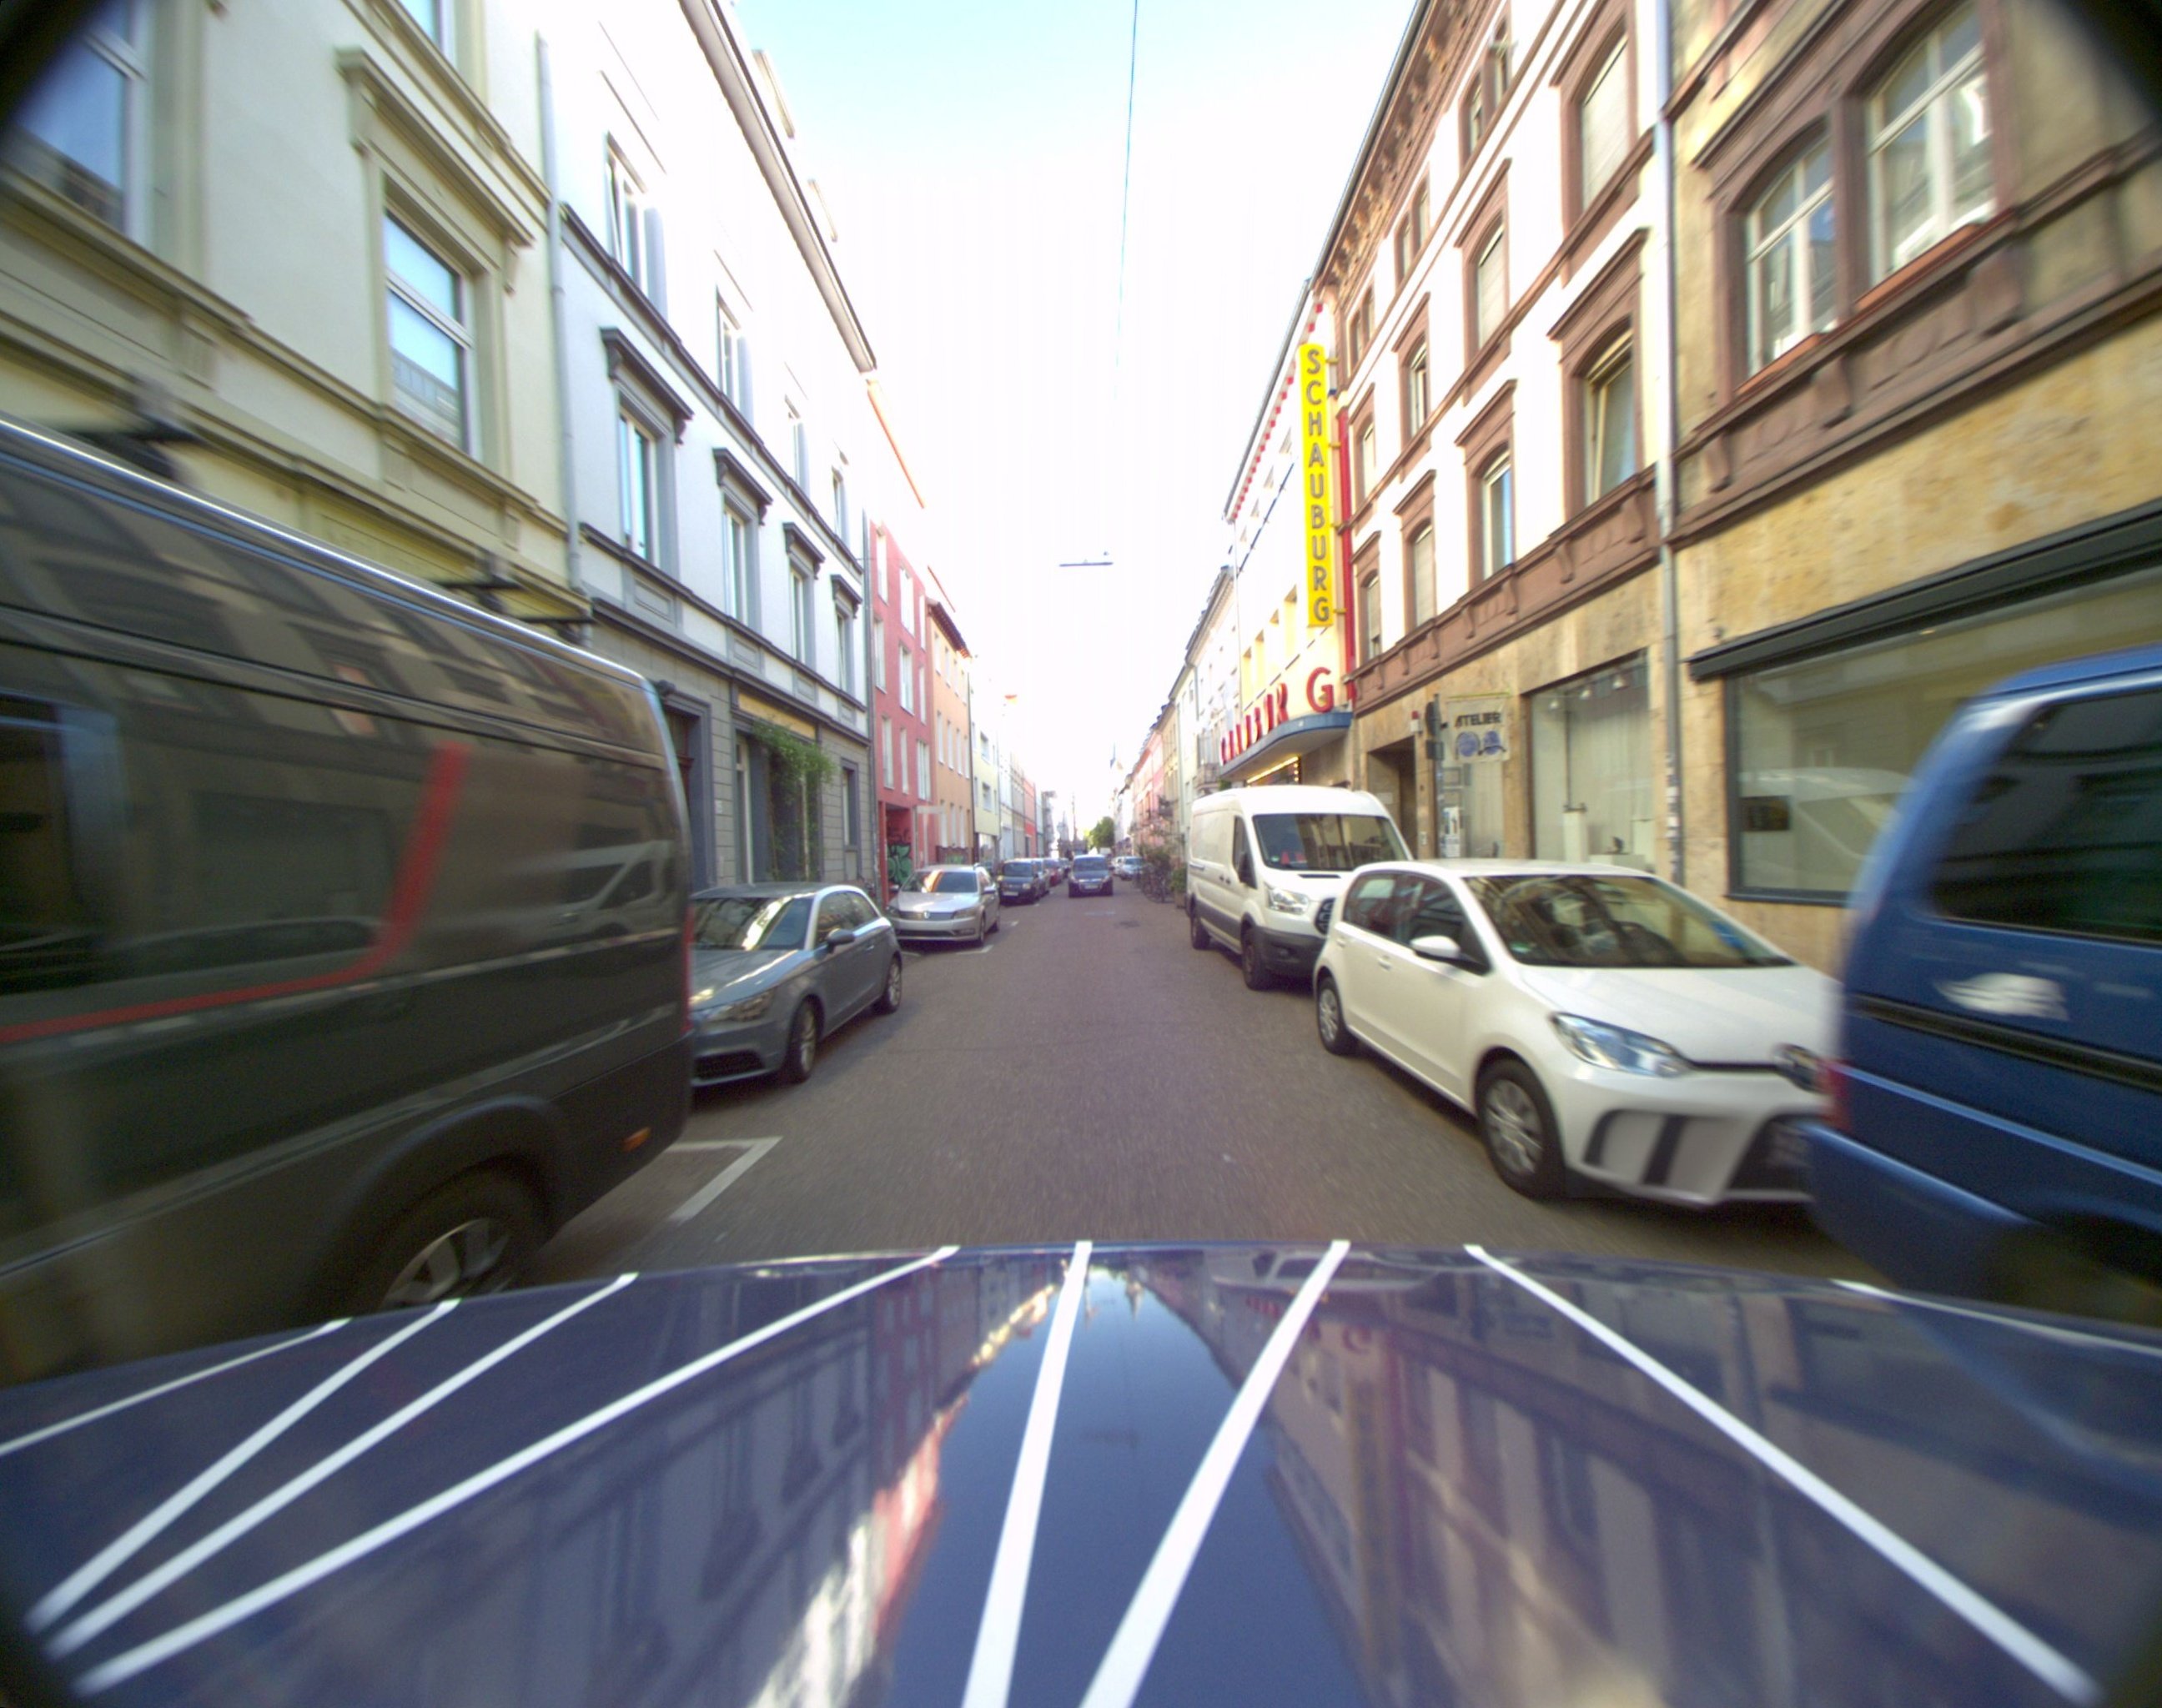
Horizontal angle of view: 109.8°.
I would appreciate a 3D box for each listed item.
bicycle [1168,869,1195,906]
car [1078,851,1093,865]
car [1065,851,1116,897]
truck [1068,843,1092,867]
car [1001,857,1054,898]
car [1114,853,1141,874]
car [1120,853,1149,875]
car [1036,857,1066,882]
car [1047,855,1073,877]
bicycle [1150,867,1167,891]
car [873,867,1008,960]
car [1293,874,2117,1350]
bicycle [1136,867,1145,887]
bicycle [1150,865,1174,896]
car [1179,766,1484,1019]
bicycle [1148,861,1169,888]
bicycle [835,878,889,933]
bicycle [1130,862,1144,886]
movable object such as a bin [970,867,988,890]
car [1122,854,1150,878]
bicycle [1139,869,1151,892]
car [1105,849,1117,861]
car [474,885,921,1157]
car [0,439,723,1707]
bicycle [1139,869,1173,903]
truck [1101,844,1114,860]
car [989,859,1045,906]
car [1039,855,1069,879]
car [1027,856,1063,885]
[{"bbox_3d":[3.148,1.033,23.876,0.443,1.041,1.864,-4,0,-3],"label":"bicycle"},{"bbox_3d":[0.575,0.456,88.710,1.644,1.528,3.842,-2,0,1],"label":"car"},{"bbox_3d":[0.391,0.739,30.369,1.832,1.650,4.213,-1,0,1],"label":"car"},{"bbox_3d":[-0.134,0.139,97.351,2.819,2.735,7.678,-4,0,0],"label":"truck"},{"bbox_3d":[-2.191,0.937,32.118,1.750,1.547,4.172,-2,0,2],"label":"car"},{"bbox_3d":[3.515,0.705,58.462,1.792,1.454,4.200,-1,0,0],"label":"car"},{"bbox_3d":[3.727,0.661,53.446,1.794,1.443,4.000,-2,0,0],"label":"car"},{"bbox_3d":[-1.806,0.943,47.149,1.692,1.444,4.193,-1,0,0],"label":"car"},{"bbox_3d":[-1.585,0.878,58.190,1.766,1.513,4.380,-3,0,1],"label":"car"},{"bbox_3d":[3.300,1.056,32.451,0.555,0.938,1.572,-2,0,2],"label":"bicycle"},{"bbox_3d":[-2.601,1.046,15.106,1.791,1.446,4.547,1,0,0],"label":"car"},{"bbox_3d":[2.635,0.912,4.461,1.649,1.438,3.839,-1,0,-1],"label":"car"},{"bbox_3d":[2.782,1.064,35.357,0.322,0.911,1.290,-2,0,2],"label":"bicycle"},{"bbox_3d":[3.030,0.970,28.474,0.547,1.087,1.881,-4,0,-3],"label":"bicycle"},{"bbox_3d":[2.826,0.370,10.358,2.173,2.438,5.921,-1,0,0],"label":"car"},{"bbox_3d":[3.559,0.952,35.130,0.815,1.168,0.920,-2,1,-1],"label":"bicycle"},{"bbox_3d":[-4.949,1.142,17.311,0.712,1.091,1.900,1,1,-1],"label":"bicycle"},{"bbox_3d":[2.729,0.959,36.954,0.500,1.099,1.830,-3,0,1],"label":"bicycle"},{"bbox_3d":[-4.593,1.102,34.350,0.694,1.052,0.736,1,1,2],"label":"movable object such as a bin"},{"bbox_3d":[3.494,0.723,47.953,1.684,1.446,4.035,-1,0,4],"label":"car"},{"bbox_3d":[2.685,1.101,32.112,0.391,0.911,1.393,-2,0,2],"label":"bicycle"},{"bbox_3d":[5.075,0.211,130.830,1.998,2.002,4.258,-1,0,2],"label":"car"},{"bbox_3d":[-2.811,1.123,6.788,1.752,1.436,4.172,-2,0,1],"label":"car"},{"bbox_3d":[-2.779,0.569,0.324,2.180,2.411,6.309,0,0,1],"label":"car"},{"bbox_3d":[2.448,1.027,24.953,0.462,1.041,1.748,-4,0,-15],"label":"bicycle"},{"bbox_3d":[5.572,-0.476,159.468,2.524,3.271,6.643,-2,0,2],"label":"truck"},{"bbox_3d":[-2.241,0.989,27.352,1.606,1.530,3.450,1,0,2],"label":"car"},{"bbox_3d":[-1.816,0.861,52.668,1.794,1.542,4.000,-2,0,1],"label":"car"},{"bbox_3d":[-1.968,0.891,42.573,1.701,1.514,3.980,-1,0,2],"label":"car"}]
